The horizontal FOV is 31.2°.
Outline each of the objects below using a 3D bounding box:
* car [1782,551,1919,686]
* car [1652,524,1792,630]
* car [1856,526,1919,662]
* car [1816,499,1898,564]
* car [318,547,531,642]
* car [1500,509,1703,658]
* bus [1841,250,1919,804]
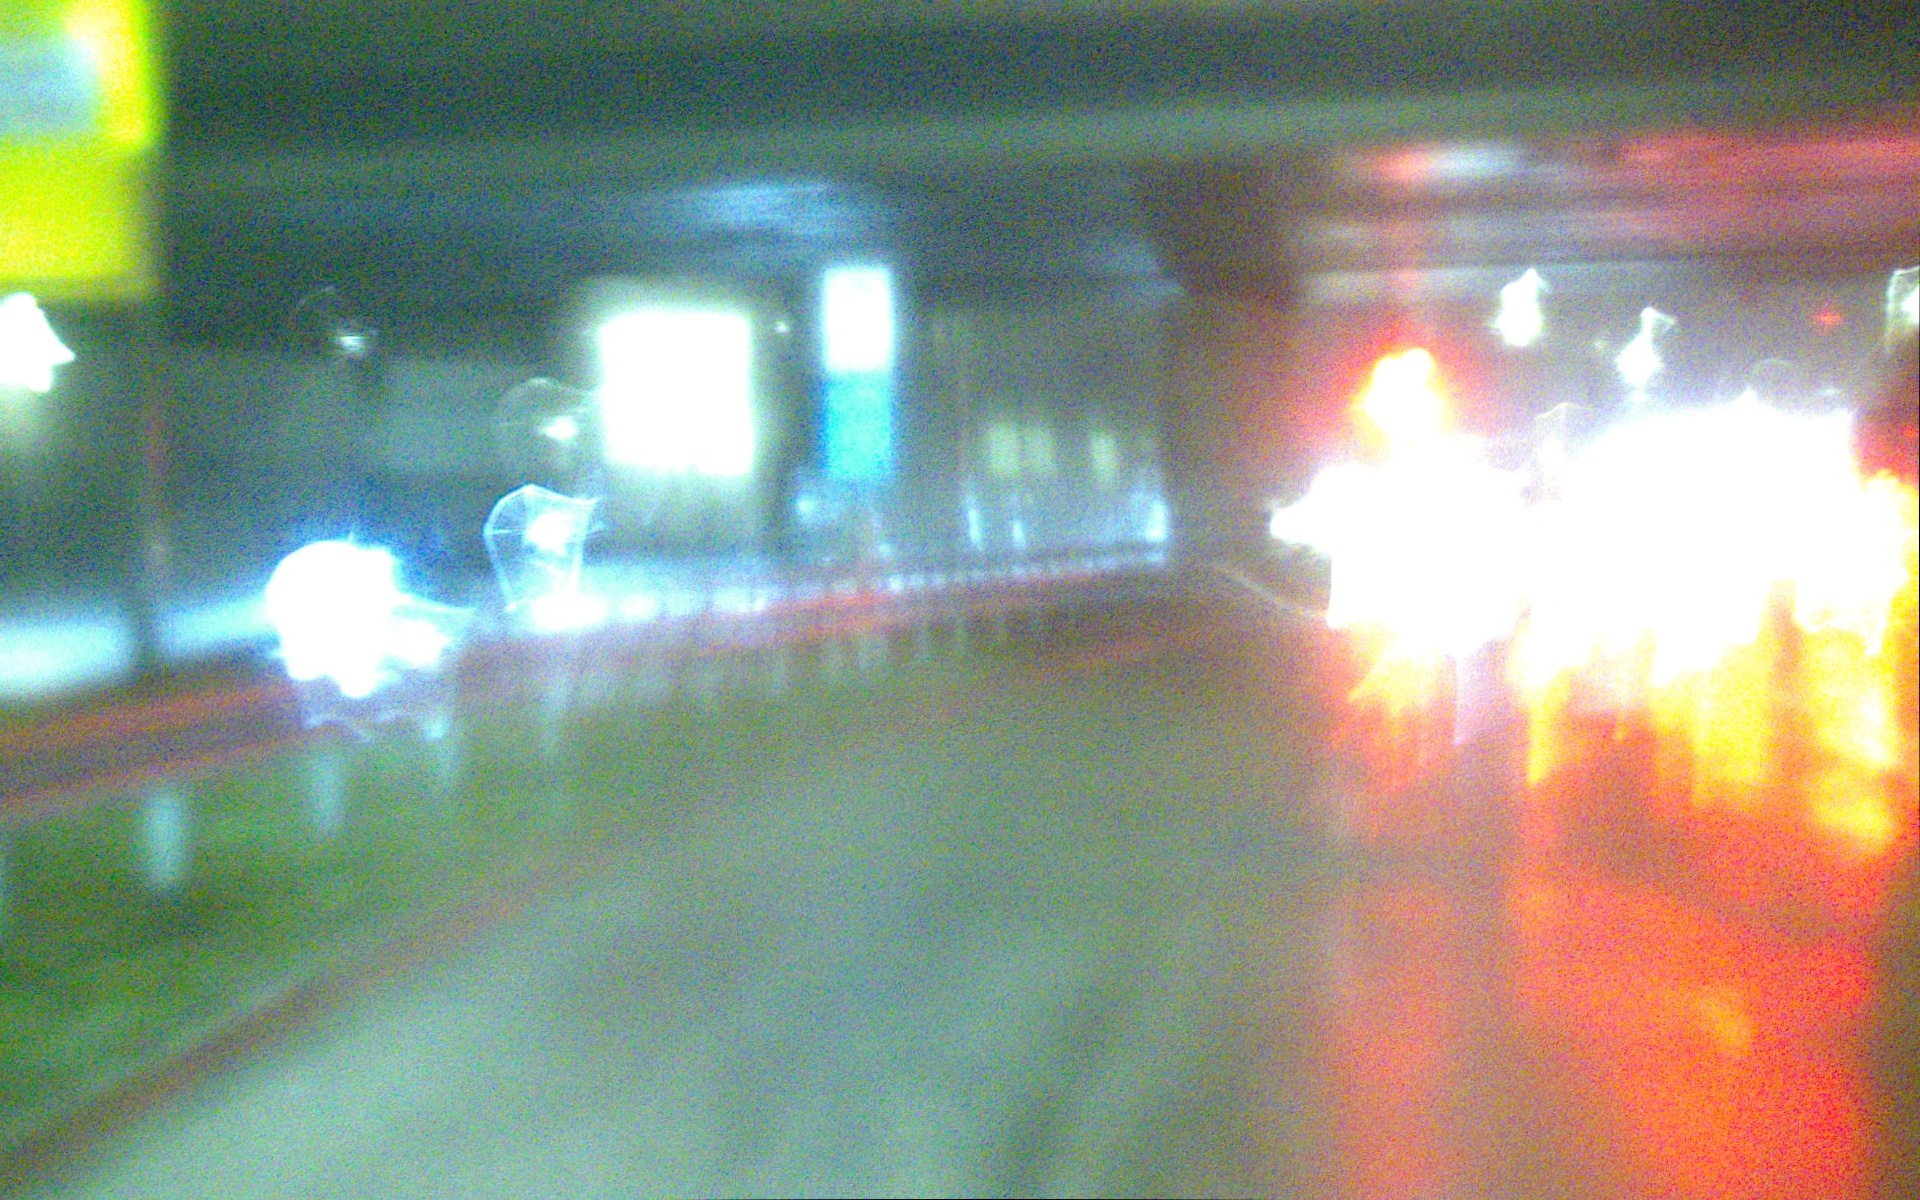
[{"bbox_3d":[12.101,0.204,45.898,1.789,1.678,3.996,0,1,19],"label":"car"},{"bbox_3d":[12.566,-0.394,56.562,1.789,1.678,3.996,0,1,19],"label":"car"},{"bbox_3d":[11.509,-0.107,40.028,1.777,1.496,3.996,0,1,19],"label":"car"},{"bbox_3d":[23.766,-1.816,91.044,1.789,1.678,3.996,0,1,19],"label":"car"},{"bbox_3d":[-7.689,-0.104,49.736,1.855,1.284,4.130,0,1,9],"label":"car"},{"bbox_3d":[7.671,-0.236,40.871,1.789,1.678,3.996,0,1,19],"label":"car"},{"bbox_3d":[6.894,-0.384,17.891,3.044,3.201,9.049,1,1,5],"label":"bus"}]
